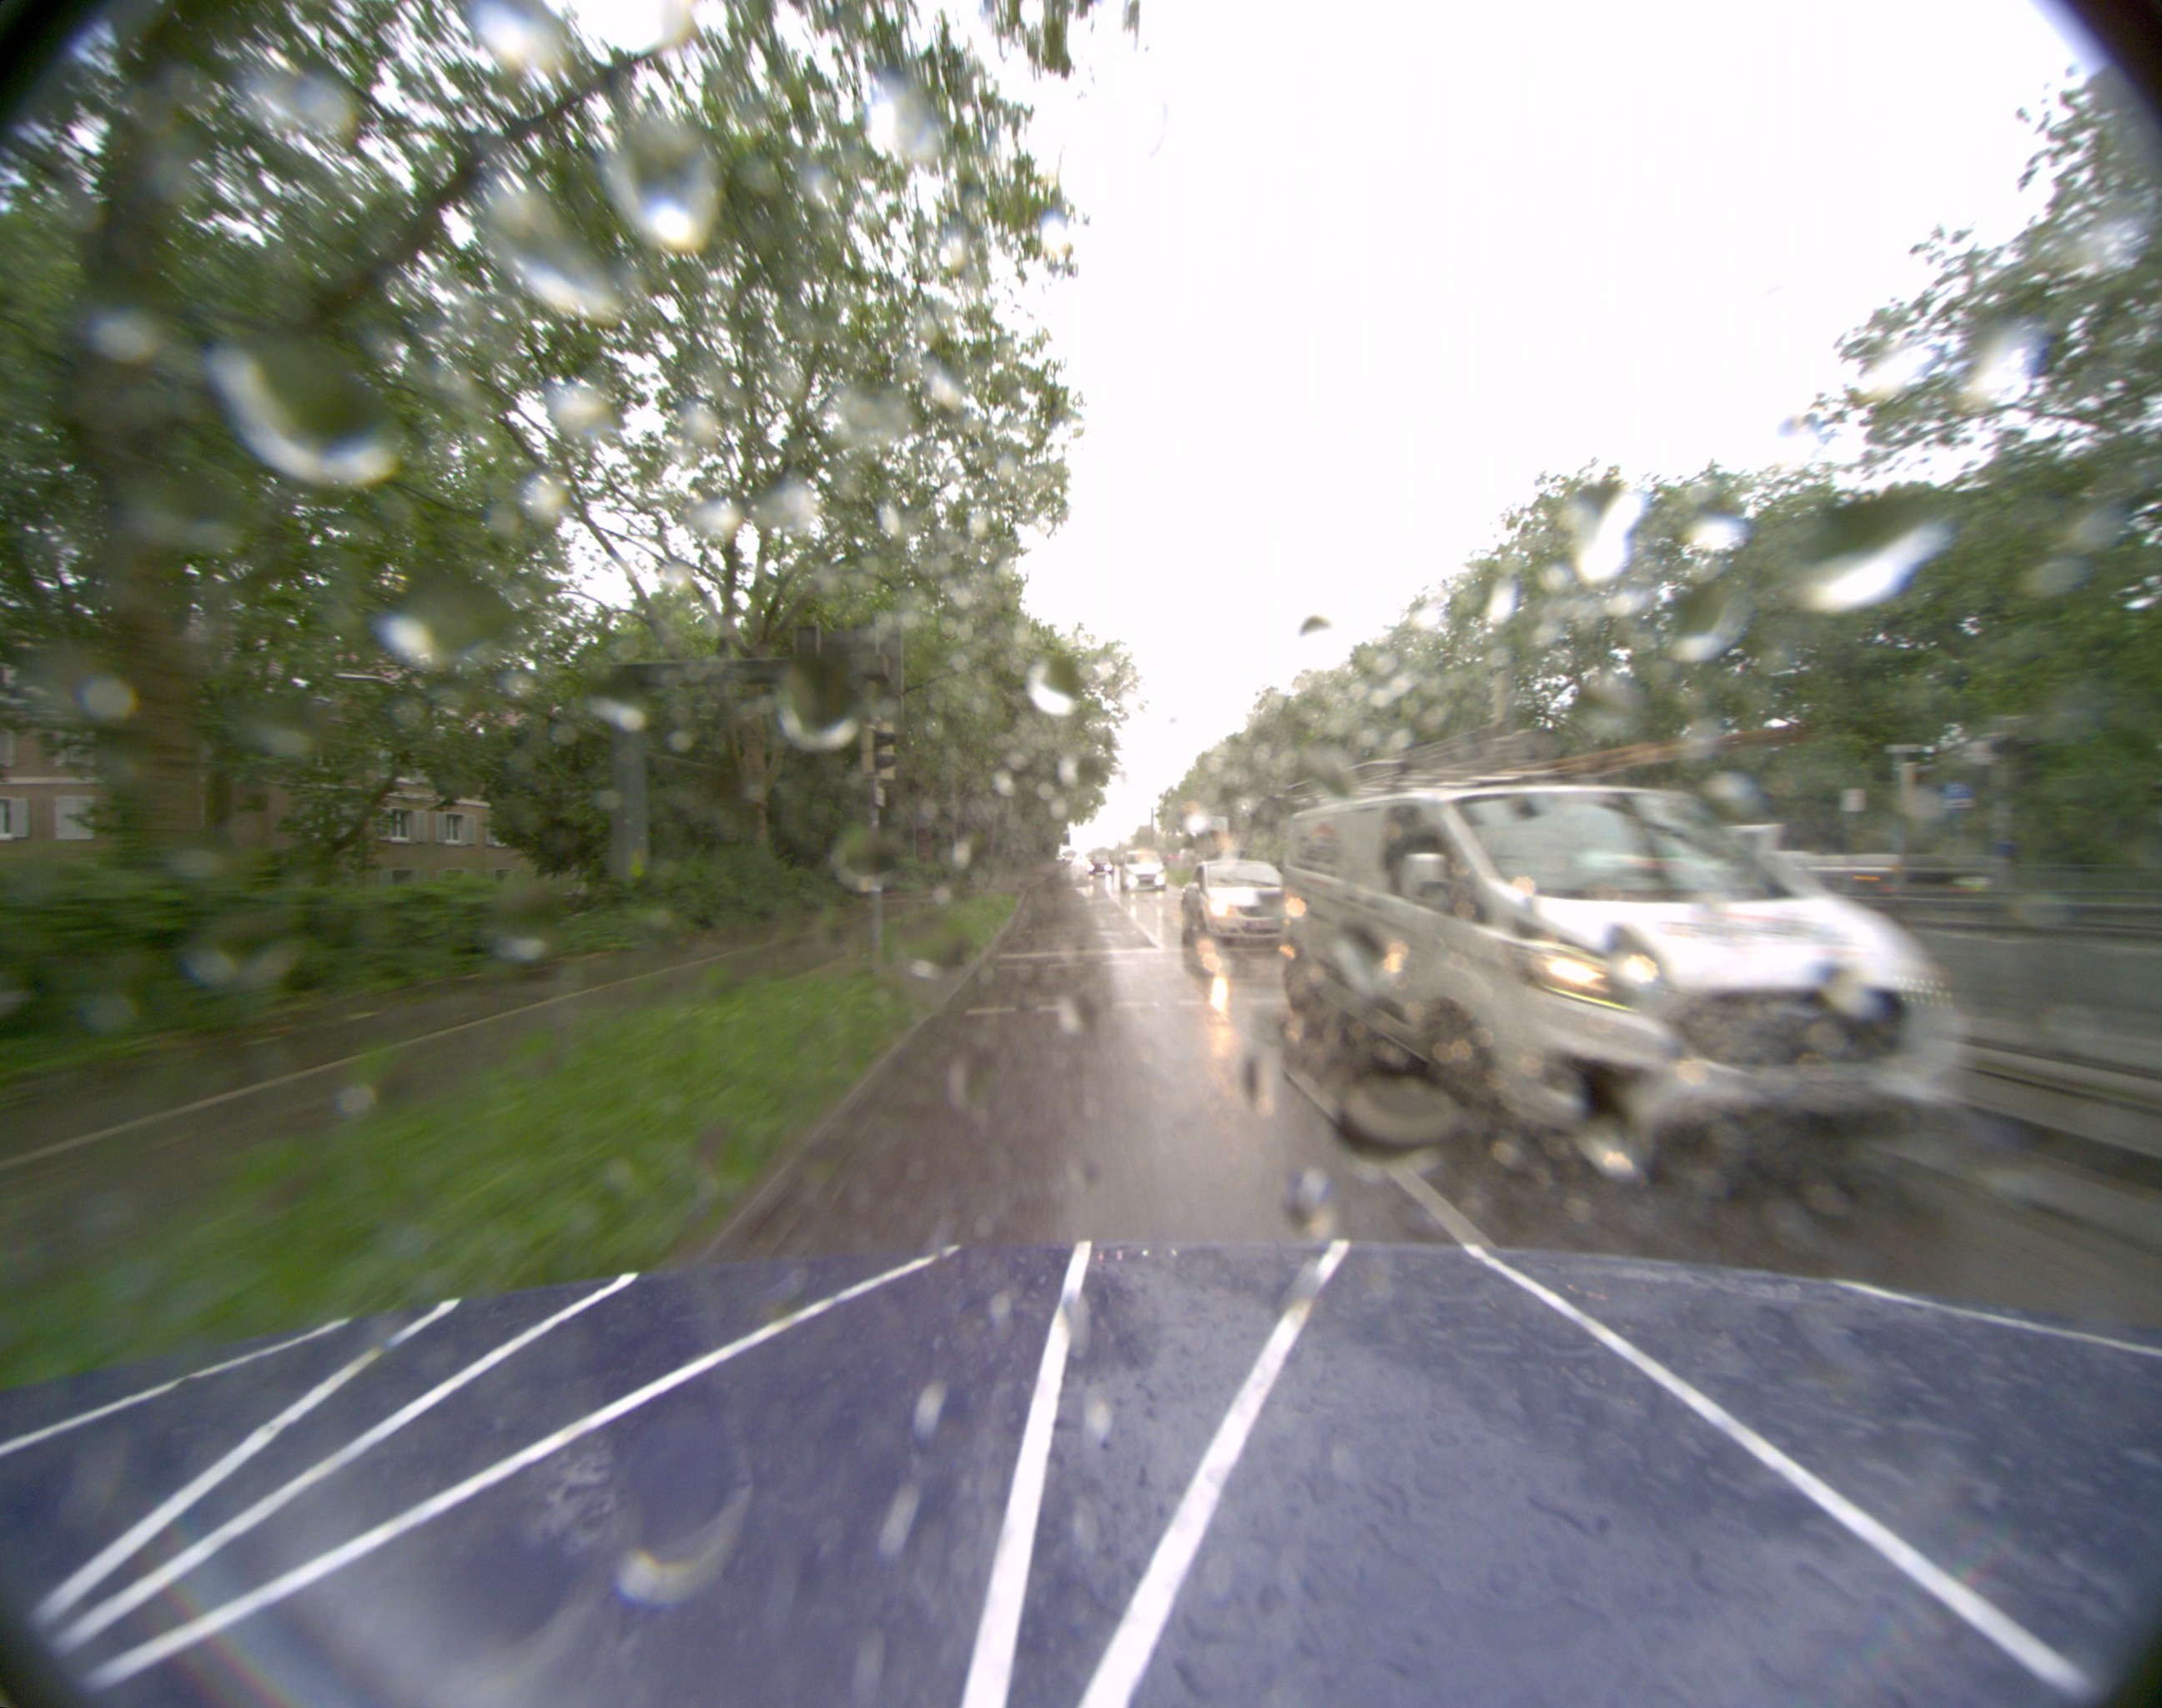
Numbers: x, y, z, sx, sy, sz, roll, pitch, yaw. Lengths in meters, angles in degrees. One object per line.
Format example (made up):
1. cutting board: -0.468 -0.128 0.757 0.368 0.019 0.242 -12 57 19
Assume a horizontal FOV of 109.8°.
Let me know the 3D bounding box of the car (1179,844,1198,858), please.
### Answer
1. car: 19.093 -0.502 134.782 2.335 2.432 6.137 0 1 -1

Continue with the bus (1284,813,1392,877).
1. bus: 17.553 -0.637 53.163 3.038 3.816 12.242 -2 1 -1

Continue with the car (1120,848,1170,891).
1. car: 2.667 0.610 32.513 1.869 1.614 4.262 -2 1 2

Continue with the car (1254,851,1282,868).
1. car: 20.126 0.535 82.015 1.755 1.718 4.530 0 1 -3

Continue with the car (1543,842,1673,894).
1. car: 22.574 0.551 32.855 2.037 2.081 4.801 0 1 -4

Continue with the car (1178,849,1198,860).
1. car: 15.597 0.077 111.202 2.037 1.648 4.275 0 1 -3

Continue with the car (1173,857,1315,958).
1. car: 2.796 0.852 13.844 1.730 1.470 3.804 -1 1 0

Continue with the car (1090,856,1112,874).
1. car: 1.653 0.892 63.355 1.726 1.425 3.851 -1 1 1

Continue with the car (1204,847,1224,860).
1. car: 19.733 -0.044 112.944 1.962 1.851 4.639 0 1 -1

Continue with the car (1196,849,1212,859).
1. car: 19.216 0.023 118.886 1.822 1.543 4.024 0 1 -1

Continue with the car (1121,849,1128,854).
1. car: 14.440 -0.910 251.633 1.983 1.558 4.767 0 1 -2

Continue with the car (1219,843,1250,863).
1. car: 19.583 -0.141 97.425 2.396 2.526 6.564 0 1 -3

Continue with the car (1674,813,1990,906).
1. car: 18.962 0.093 19.822 2.190 2.002 6.113 -1 1 0

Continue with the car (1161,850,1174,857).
1. car: 18.467 -0.070 161.680 2.039 1.543 4.383 0 1 -2

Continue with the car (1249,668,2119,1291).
1. car: 2.826 0.424 5.449 1.999 2.249 5.287 -2 1 0

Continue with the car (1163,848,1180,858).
1. car: 15.137 -0.174 127.305 2.019 1.648 4.394 0 1 -3
